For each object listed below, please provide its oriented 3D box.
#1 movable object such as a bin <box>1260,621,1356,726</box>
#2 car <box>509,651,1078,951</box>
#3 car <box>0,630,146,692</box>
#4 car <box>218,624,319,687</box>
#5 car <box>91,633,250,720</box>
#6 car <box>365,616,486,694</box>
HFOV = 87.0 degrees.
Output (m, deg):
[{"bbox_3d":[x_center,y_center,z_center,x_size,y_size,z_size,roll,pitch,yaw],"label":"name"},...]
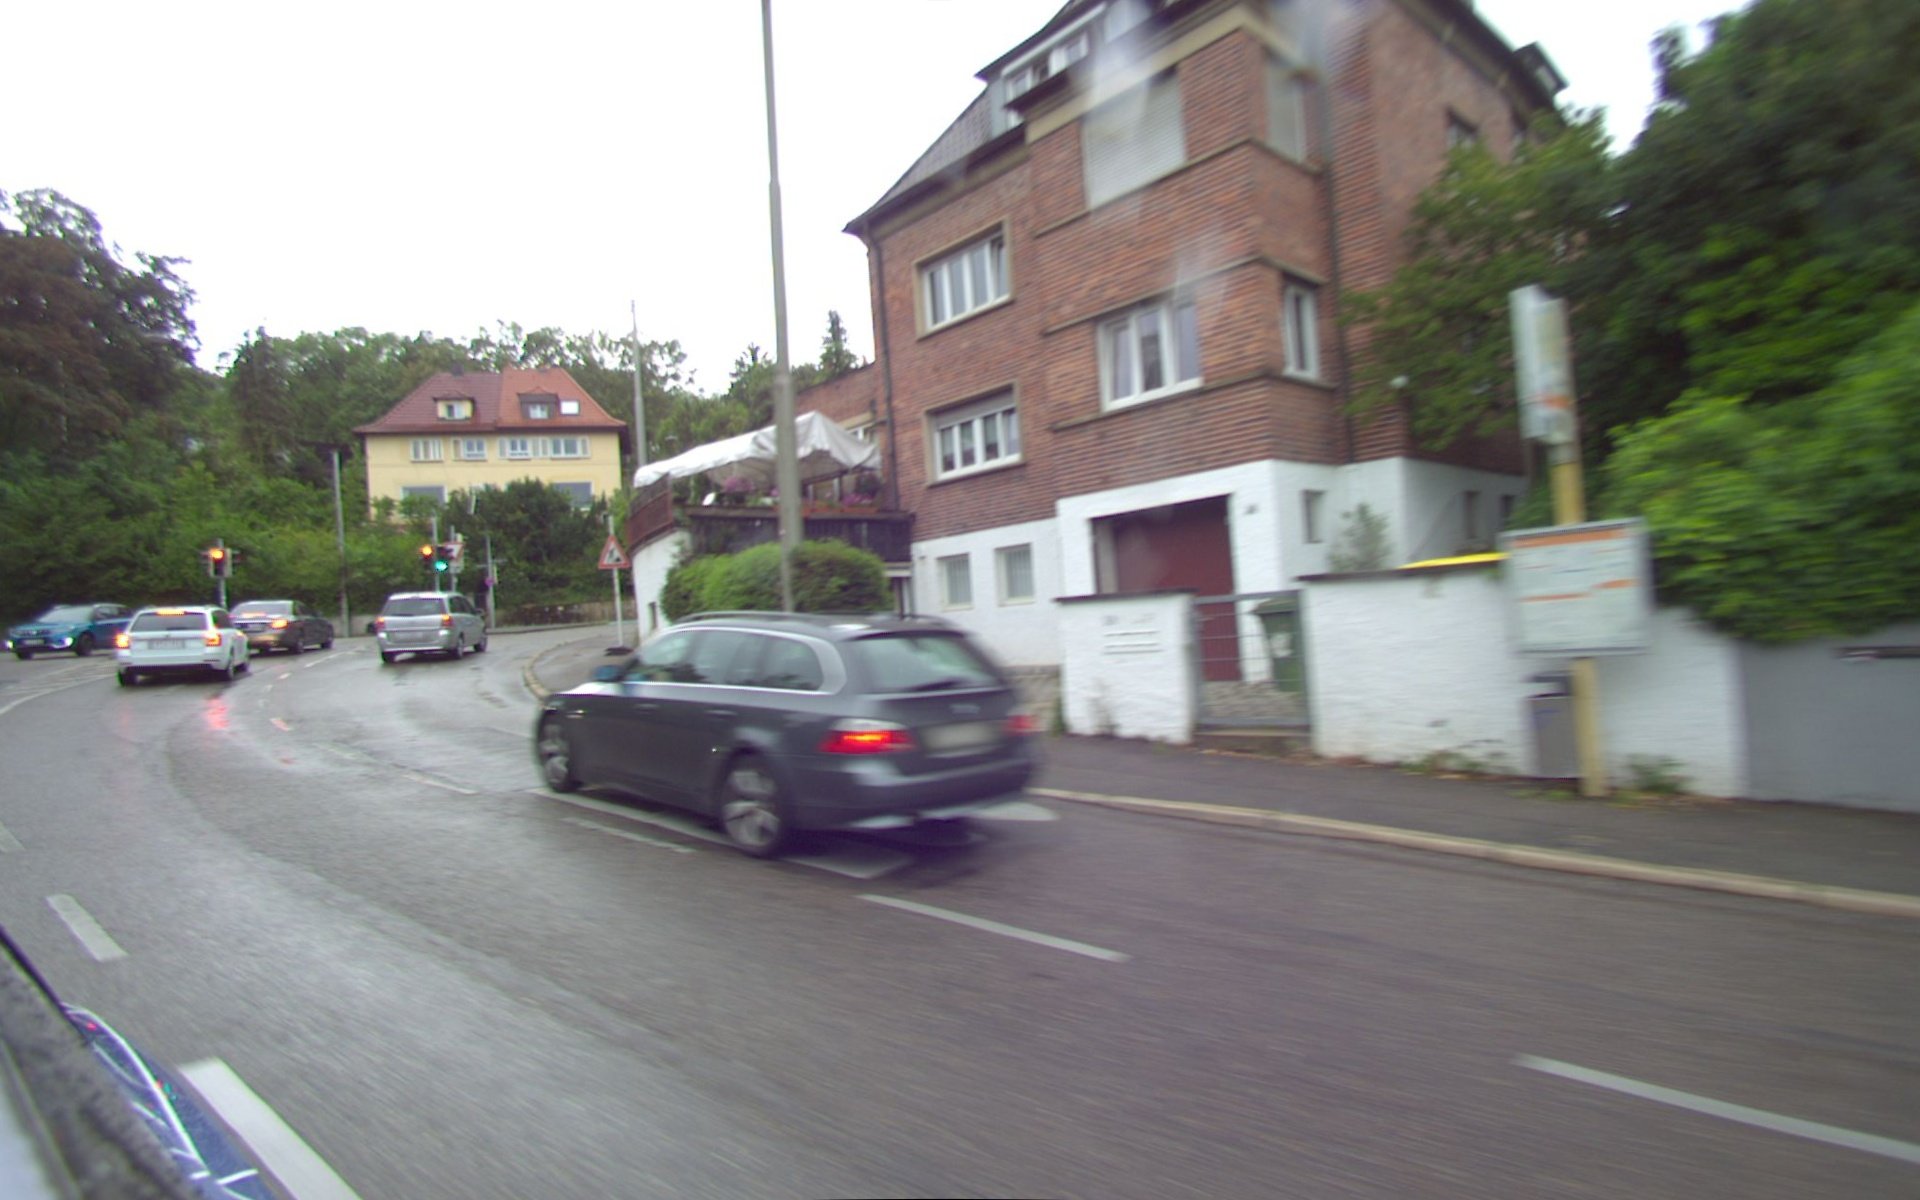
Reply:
[{"bbox_3d":[3.938,0.813,11.463,0.617,1.089,0.761,-6,2,-41],"label":"movable object such as a bin"},{"bbox_3d":[-1.503,1.136,7.395,4.617,1.462,1.717,-3,-3,44],"label":"car"},{"bbox_3d":[-26.897,1.817,30.524,1.774,1.622,4.047,-4,-2,-8],"label":"car"},{"bbox_3d":[-19.068,1.452,28.078,1.833,1.406,4.611,-1,1,-29],"label":"car"},{"bbox_3d":[-15.796,1.444,20.489,1.821,1.485,4.455,1,-1,-29],"label":"car"},{"bbox_3d":[-13.210,1.277,25.276,1.687,1.597,4.473,-2,1,-15],"label":"car"}]
